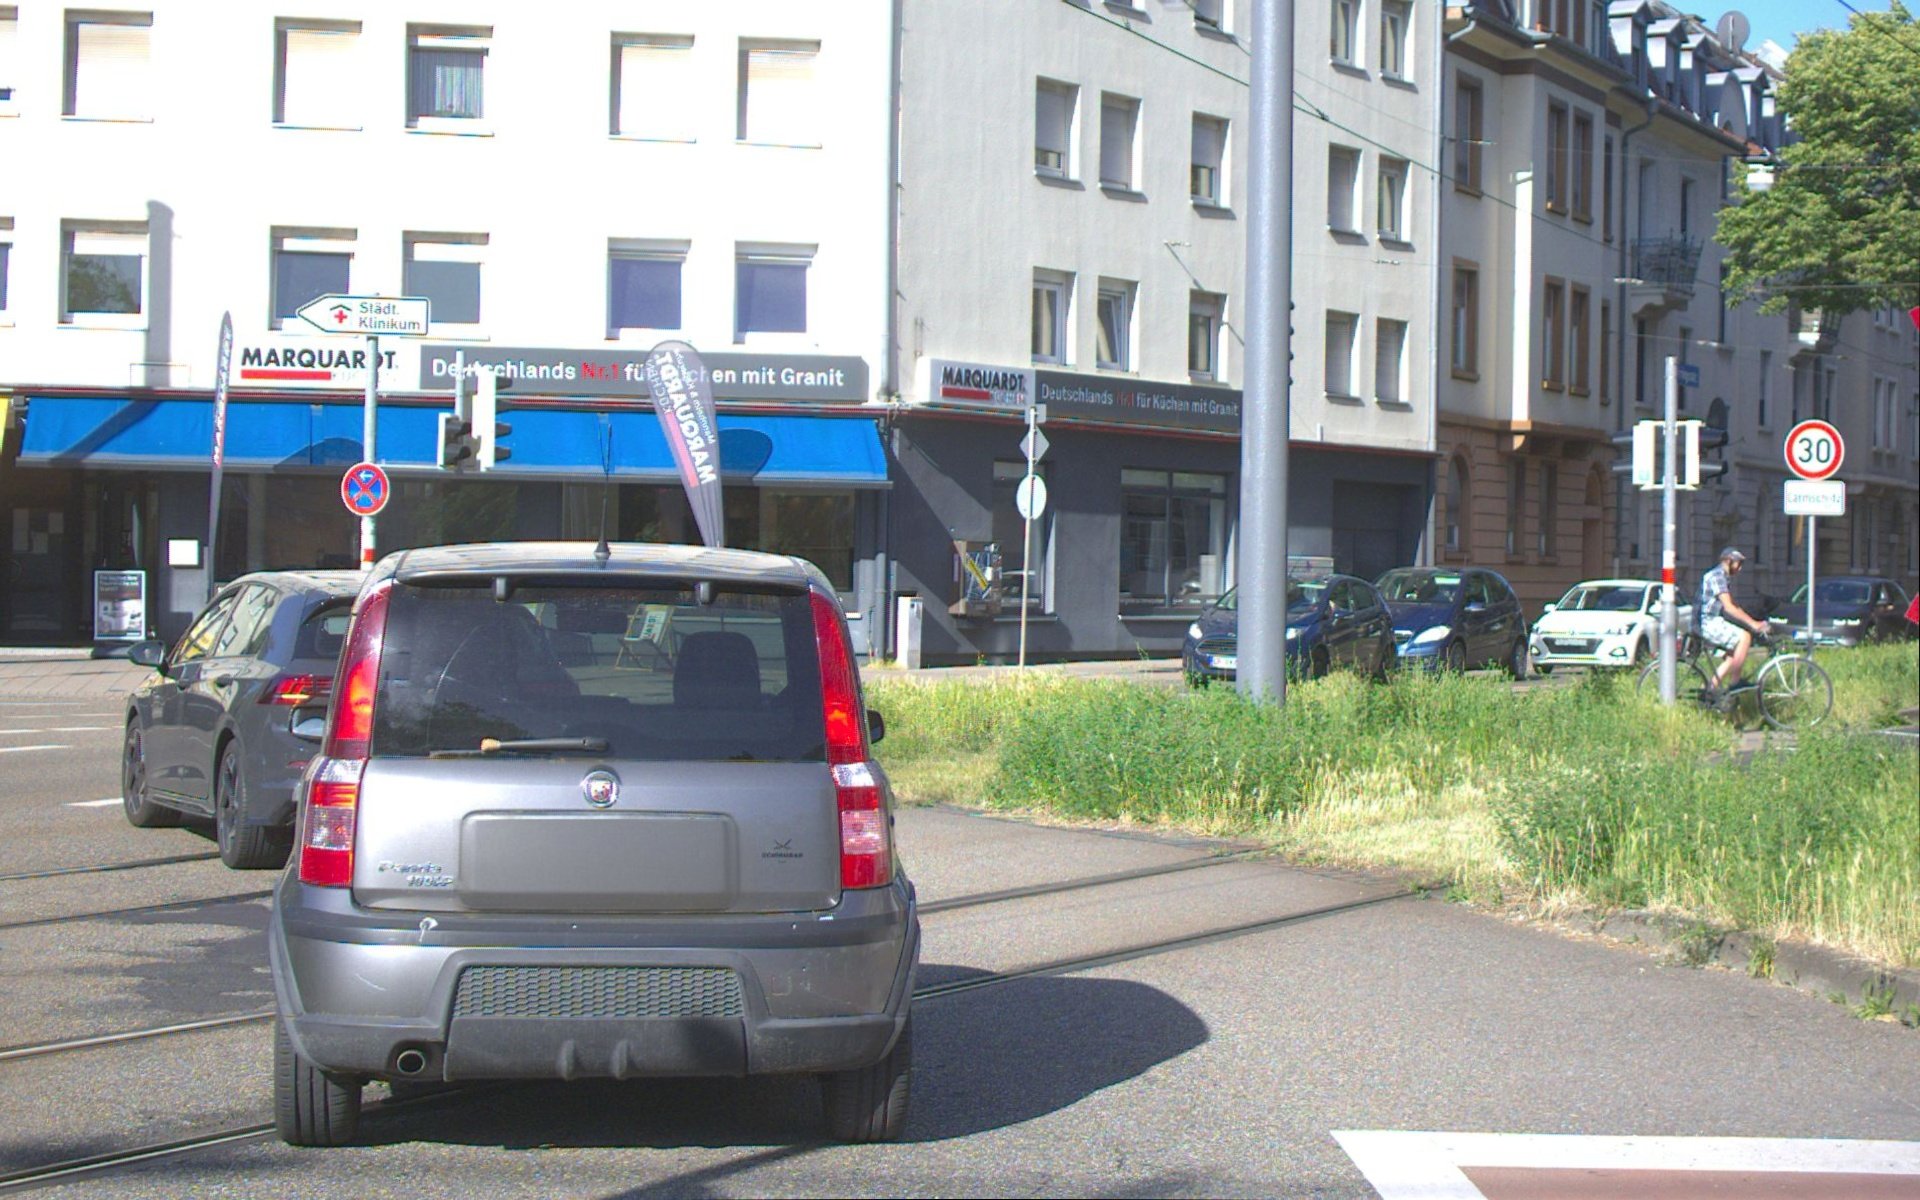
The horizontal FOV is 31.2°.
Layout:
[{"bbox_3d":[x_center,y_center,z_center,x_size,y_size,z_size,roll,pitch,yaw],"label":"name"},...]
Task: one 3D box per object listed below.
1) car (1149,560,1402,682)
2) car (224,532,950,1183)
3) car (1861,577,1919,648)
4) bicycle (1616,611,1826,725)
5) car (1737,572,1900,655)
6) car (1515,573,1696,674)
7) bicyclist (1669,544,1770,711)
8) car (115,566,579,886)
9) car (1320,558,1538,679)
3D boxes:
[{"bbox_3d":[3.909,0.237,42.125,1.793,1.391,3.719,2,1,27],"label":"car"},{"bbox_3d":[-1.040,0.588,9.644,1.659,1.505,3.252,1,1,-6],"label":"car"},{"bbox_3d":[21.088,0.267,74.644,1.997,1.482,3.994,2,1,29],"label":"car"},{"bbox_3d":[7.216,0.638,32.656,1.851,1.029,0.589,1,1,2],"label":"bicycle"},{"bbox_3d":[16.204,0.237,64.760,1.997,1.468,3.994,2,1,29],"label":"car"},{"bbox_3d":[10.050,0.345,53.372,1.793,1.478,3.526,2,1,27],"label":"car"},{"bbox_3d":[7.210,0.258,32.653,0.821,1.553,0.562,1,1,2],"label":"bicyclist"},{"bbox_3d":[-3.242,0.566,17.639,1.620,1.424,3.689,1,1,-22],"label":"car"},{"bbox_3d":[6.505,0.243,47.374,1.793,1.560,3.760,2,1,27],"label":"car"}]
